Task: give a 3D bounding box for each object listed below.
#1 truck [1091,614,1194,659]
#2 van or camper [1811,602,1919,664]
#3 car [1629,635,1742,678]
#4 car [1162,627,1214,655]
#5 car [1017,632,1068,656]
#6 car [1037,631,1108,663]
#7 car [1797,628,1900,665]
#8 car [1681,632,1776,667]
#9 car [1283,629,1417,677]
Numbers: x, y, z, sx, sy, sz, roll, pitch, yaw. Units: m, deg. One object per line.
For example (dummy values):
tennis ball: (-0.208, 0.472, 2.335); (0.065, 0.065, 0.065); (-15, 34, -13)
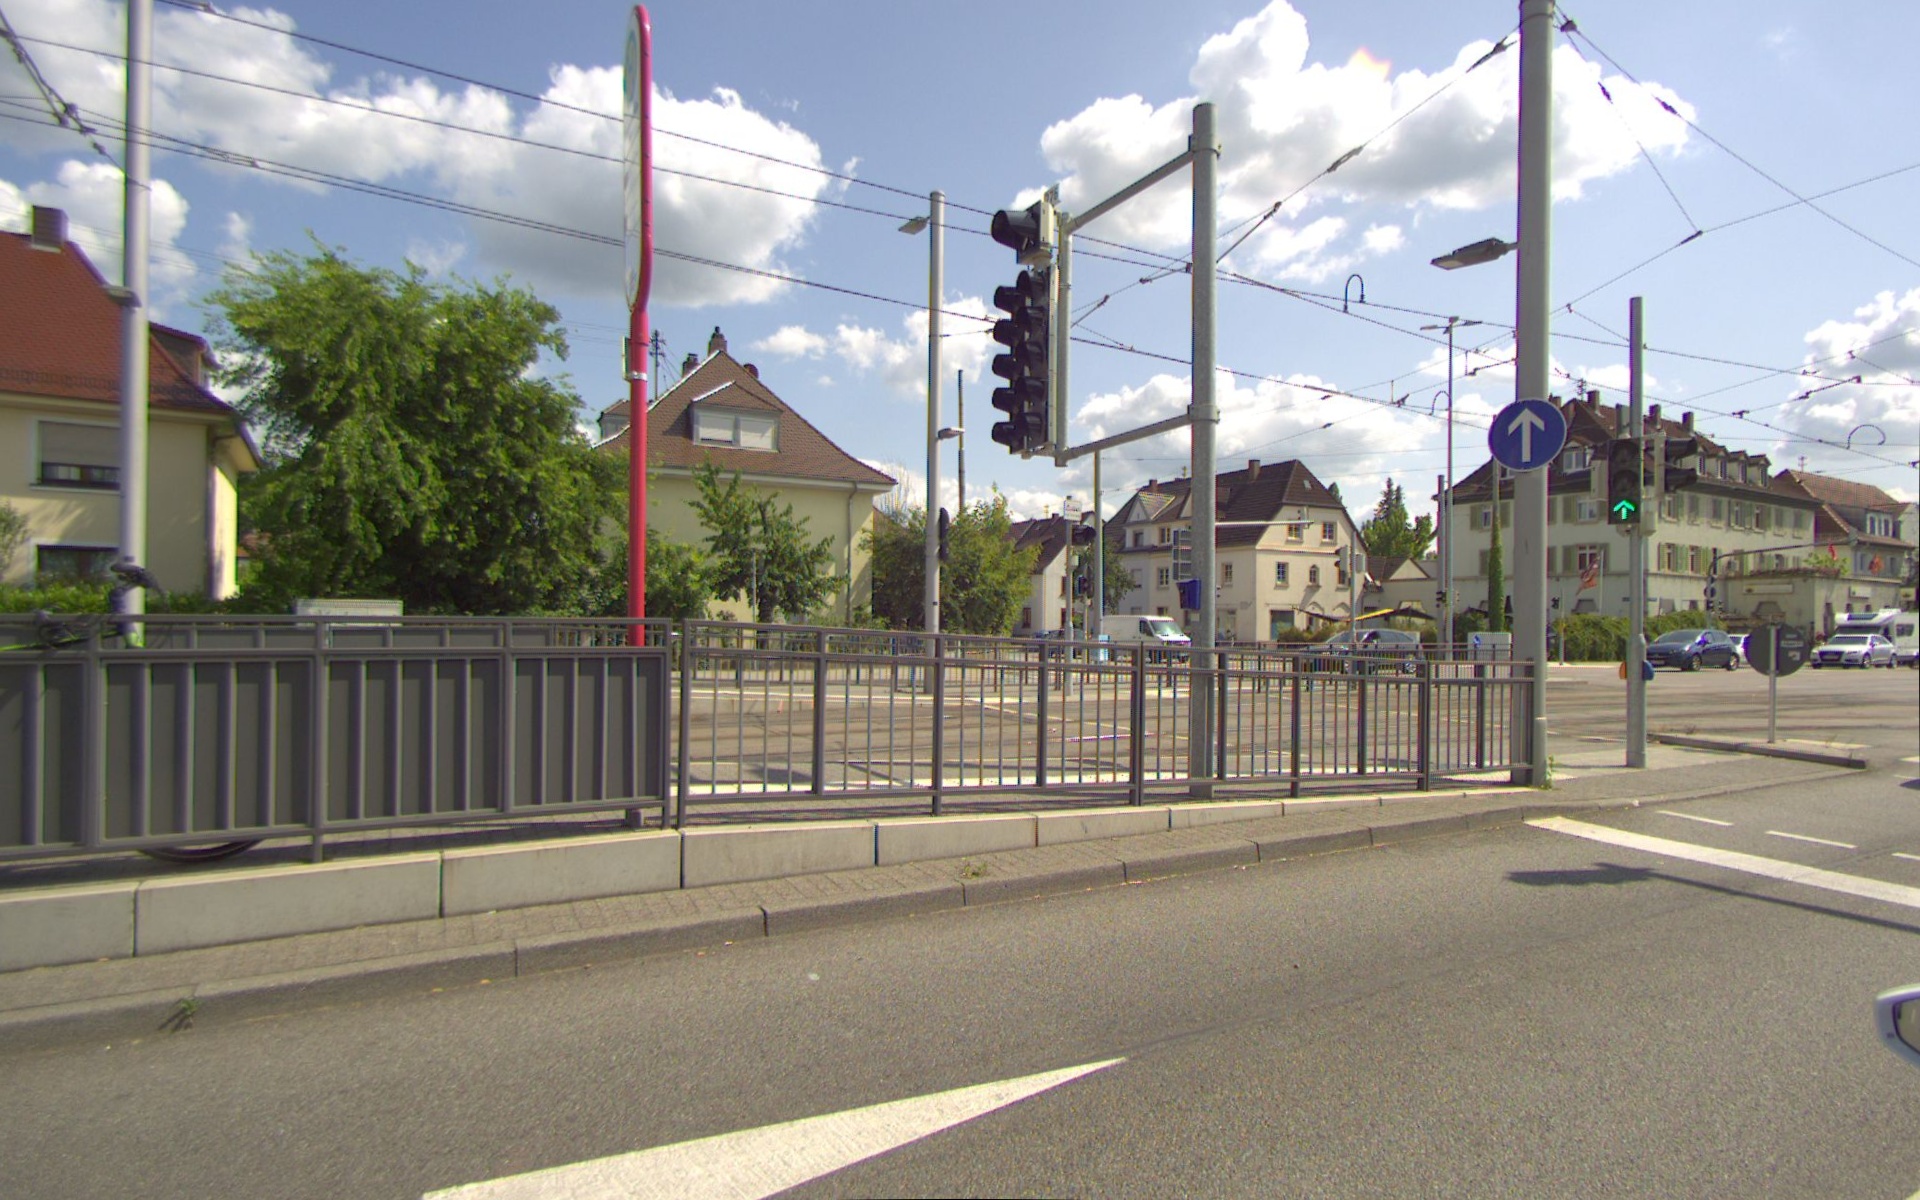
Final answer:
truck: (9.147, 1.808, 50.978); (1.668, 1.947, 6.161); (2, 0, -27)
van or camper: (46.401, 1.695, 51.142); (7.663, 2.968, 2.313); (2, -1, -30)
car: (25.552, 1.999, 35.359); (4.129, 1.369, 1.676); (2, 0, -30)
car: (15.765, 2.817, 69.638); (1.900, 1.690, 4.279); (2, 0, -11)
car: (6.266, 3.323, 76.774); (1.976, 1.617, 3.969); (2, 0, -29)
car: (6.356, 2.633, 57.088); (1.975, 1.573, 4.148); (3, -1, -27)
car: (36.743, 1.913, 41.545); (4.129, 1.369, 1.984); (2, 0, -30)
car: (33.492, 2.165, 43.759); (4.291, 1.369, 1.677); (2, 0, -28)
car: (12.464, 1.688, 32.025); (4.294, 1.369, 1.676); (2, 0, -30)
